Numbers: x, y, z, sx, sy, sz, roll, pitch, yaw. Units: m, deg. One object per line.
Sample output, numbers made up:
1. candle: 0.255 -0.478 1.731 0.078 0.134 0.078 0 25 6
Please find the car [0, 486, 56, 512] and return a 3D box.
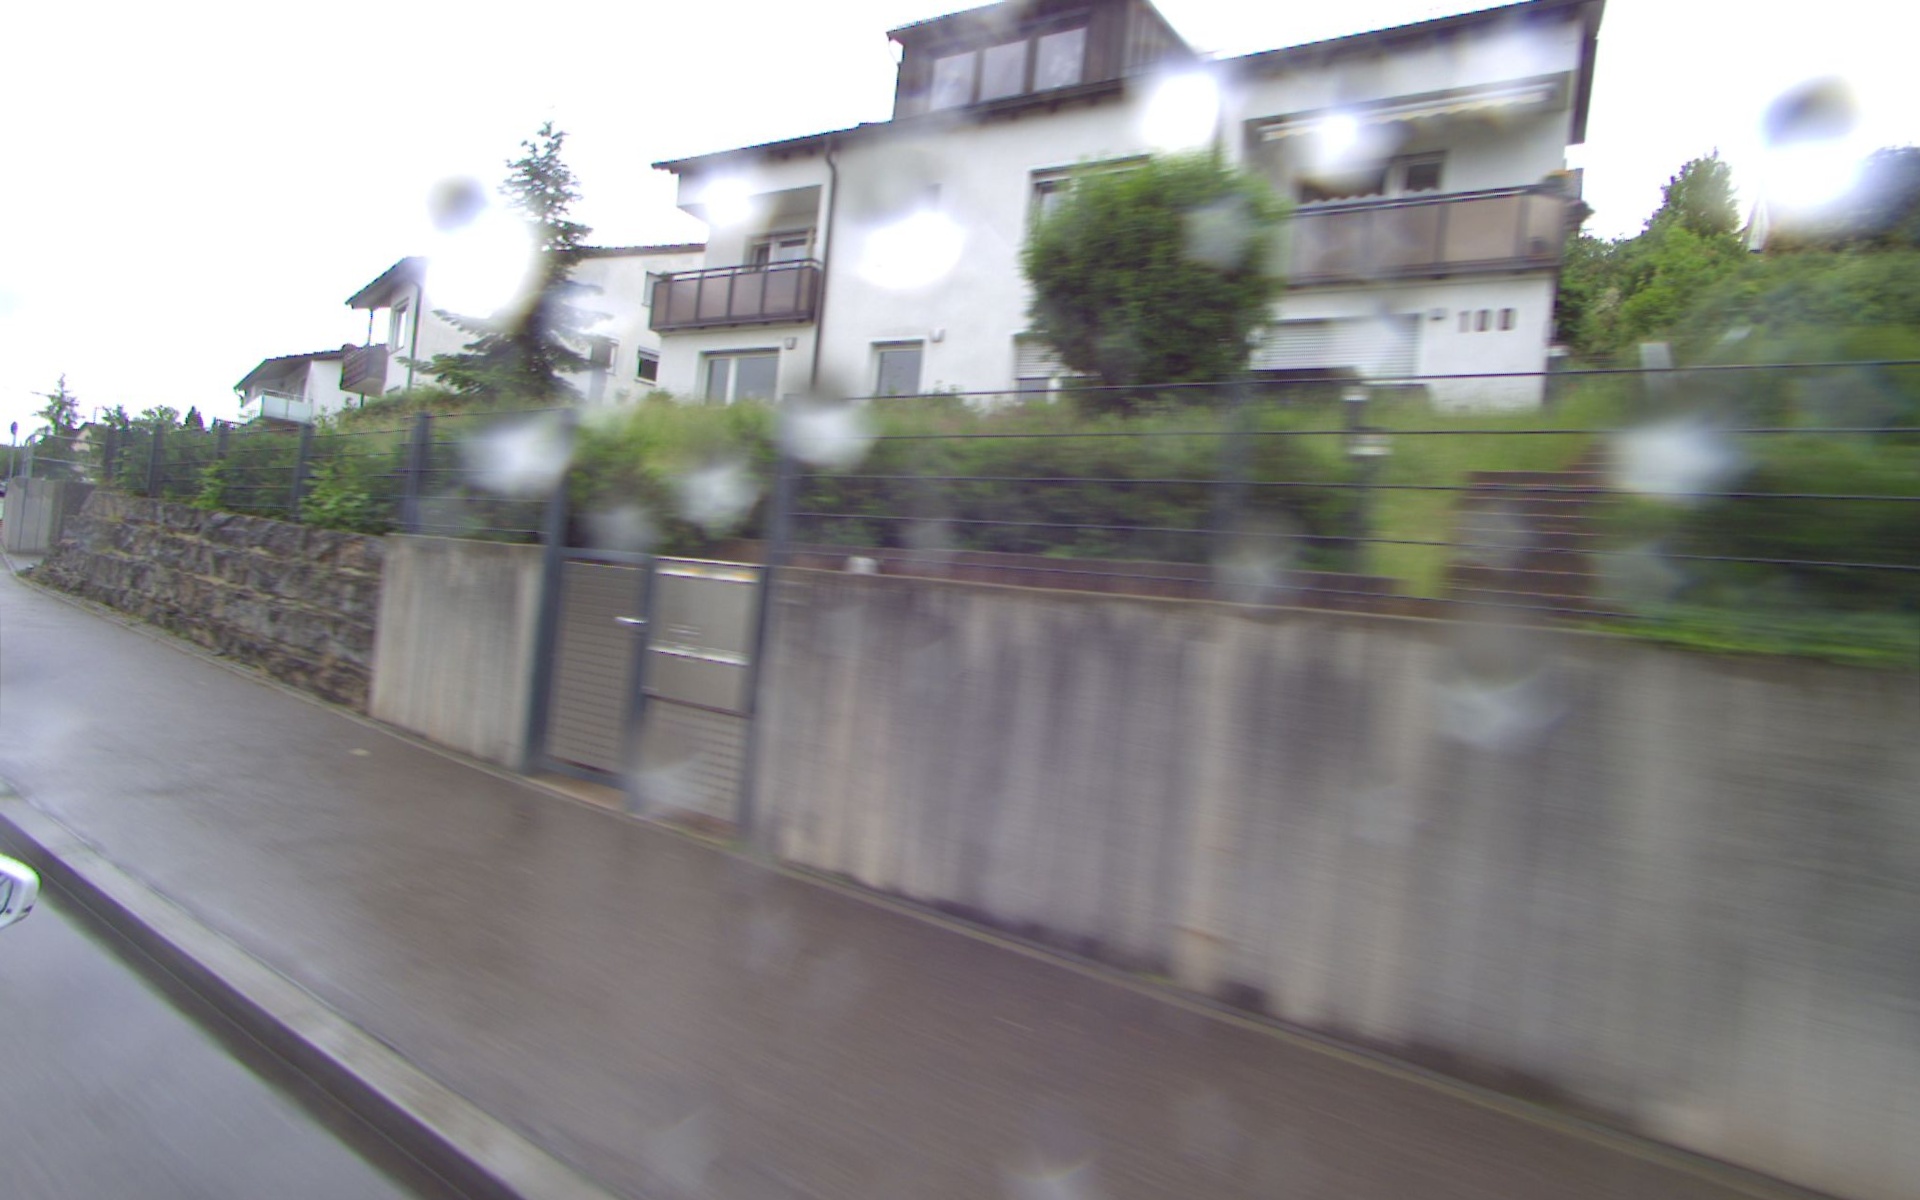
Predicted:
1. car: -73.717 -7.980 79.504 1.714 1.570 3.985 7 0 -17
